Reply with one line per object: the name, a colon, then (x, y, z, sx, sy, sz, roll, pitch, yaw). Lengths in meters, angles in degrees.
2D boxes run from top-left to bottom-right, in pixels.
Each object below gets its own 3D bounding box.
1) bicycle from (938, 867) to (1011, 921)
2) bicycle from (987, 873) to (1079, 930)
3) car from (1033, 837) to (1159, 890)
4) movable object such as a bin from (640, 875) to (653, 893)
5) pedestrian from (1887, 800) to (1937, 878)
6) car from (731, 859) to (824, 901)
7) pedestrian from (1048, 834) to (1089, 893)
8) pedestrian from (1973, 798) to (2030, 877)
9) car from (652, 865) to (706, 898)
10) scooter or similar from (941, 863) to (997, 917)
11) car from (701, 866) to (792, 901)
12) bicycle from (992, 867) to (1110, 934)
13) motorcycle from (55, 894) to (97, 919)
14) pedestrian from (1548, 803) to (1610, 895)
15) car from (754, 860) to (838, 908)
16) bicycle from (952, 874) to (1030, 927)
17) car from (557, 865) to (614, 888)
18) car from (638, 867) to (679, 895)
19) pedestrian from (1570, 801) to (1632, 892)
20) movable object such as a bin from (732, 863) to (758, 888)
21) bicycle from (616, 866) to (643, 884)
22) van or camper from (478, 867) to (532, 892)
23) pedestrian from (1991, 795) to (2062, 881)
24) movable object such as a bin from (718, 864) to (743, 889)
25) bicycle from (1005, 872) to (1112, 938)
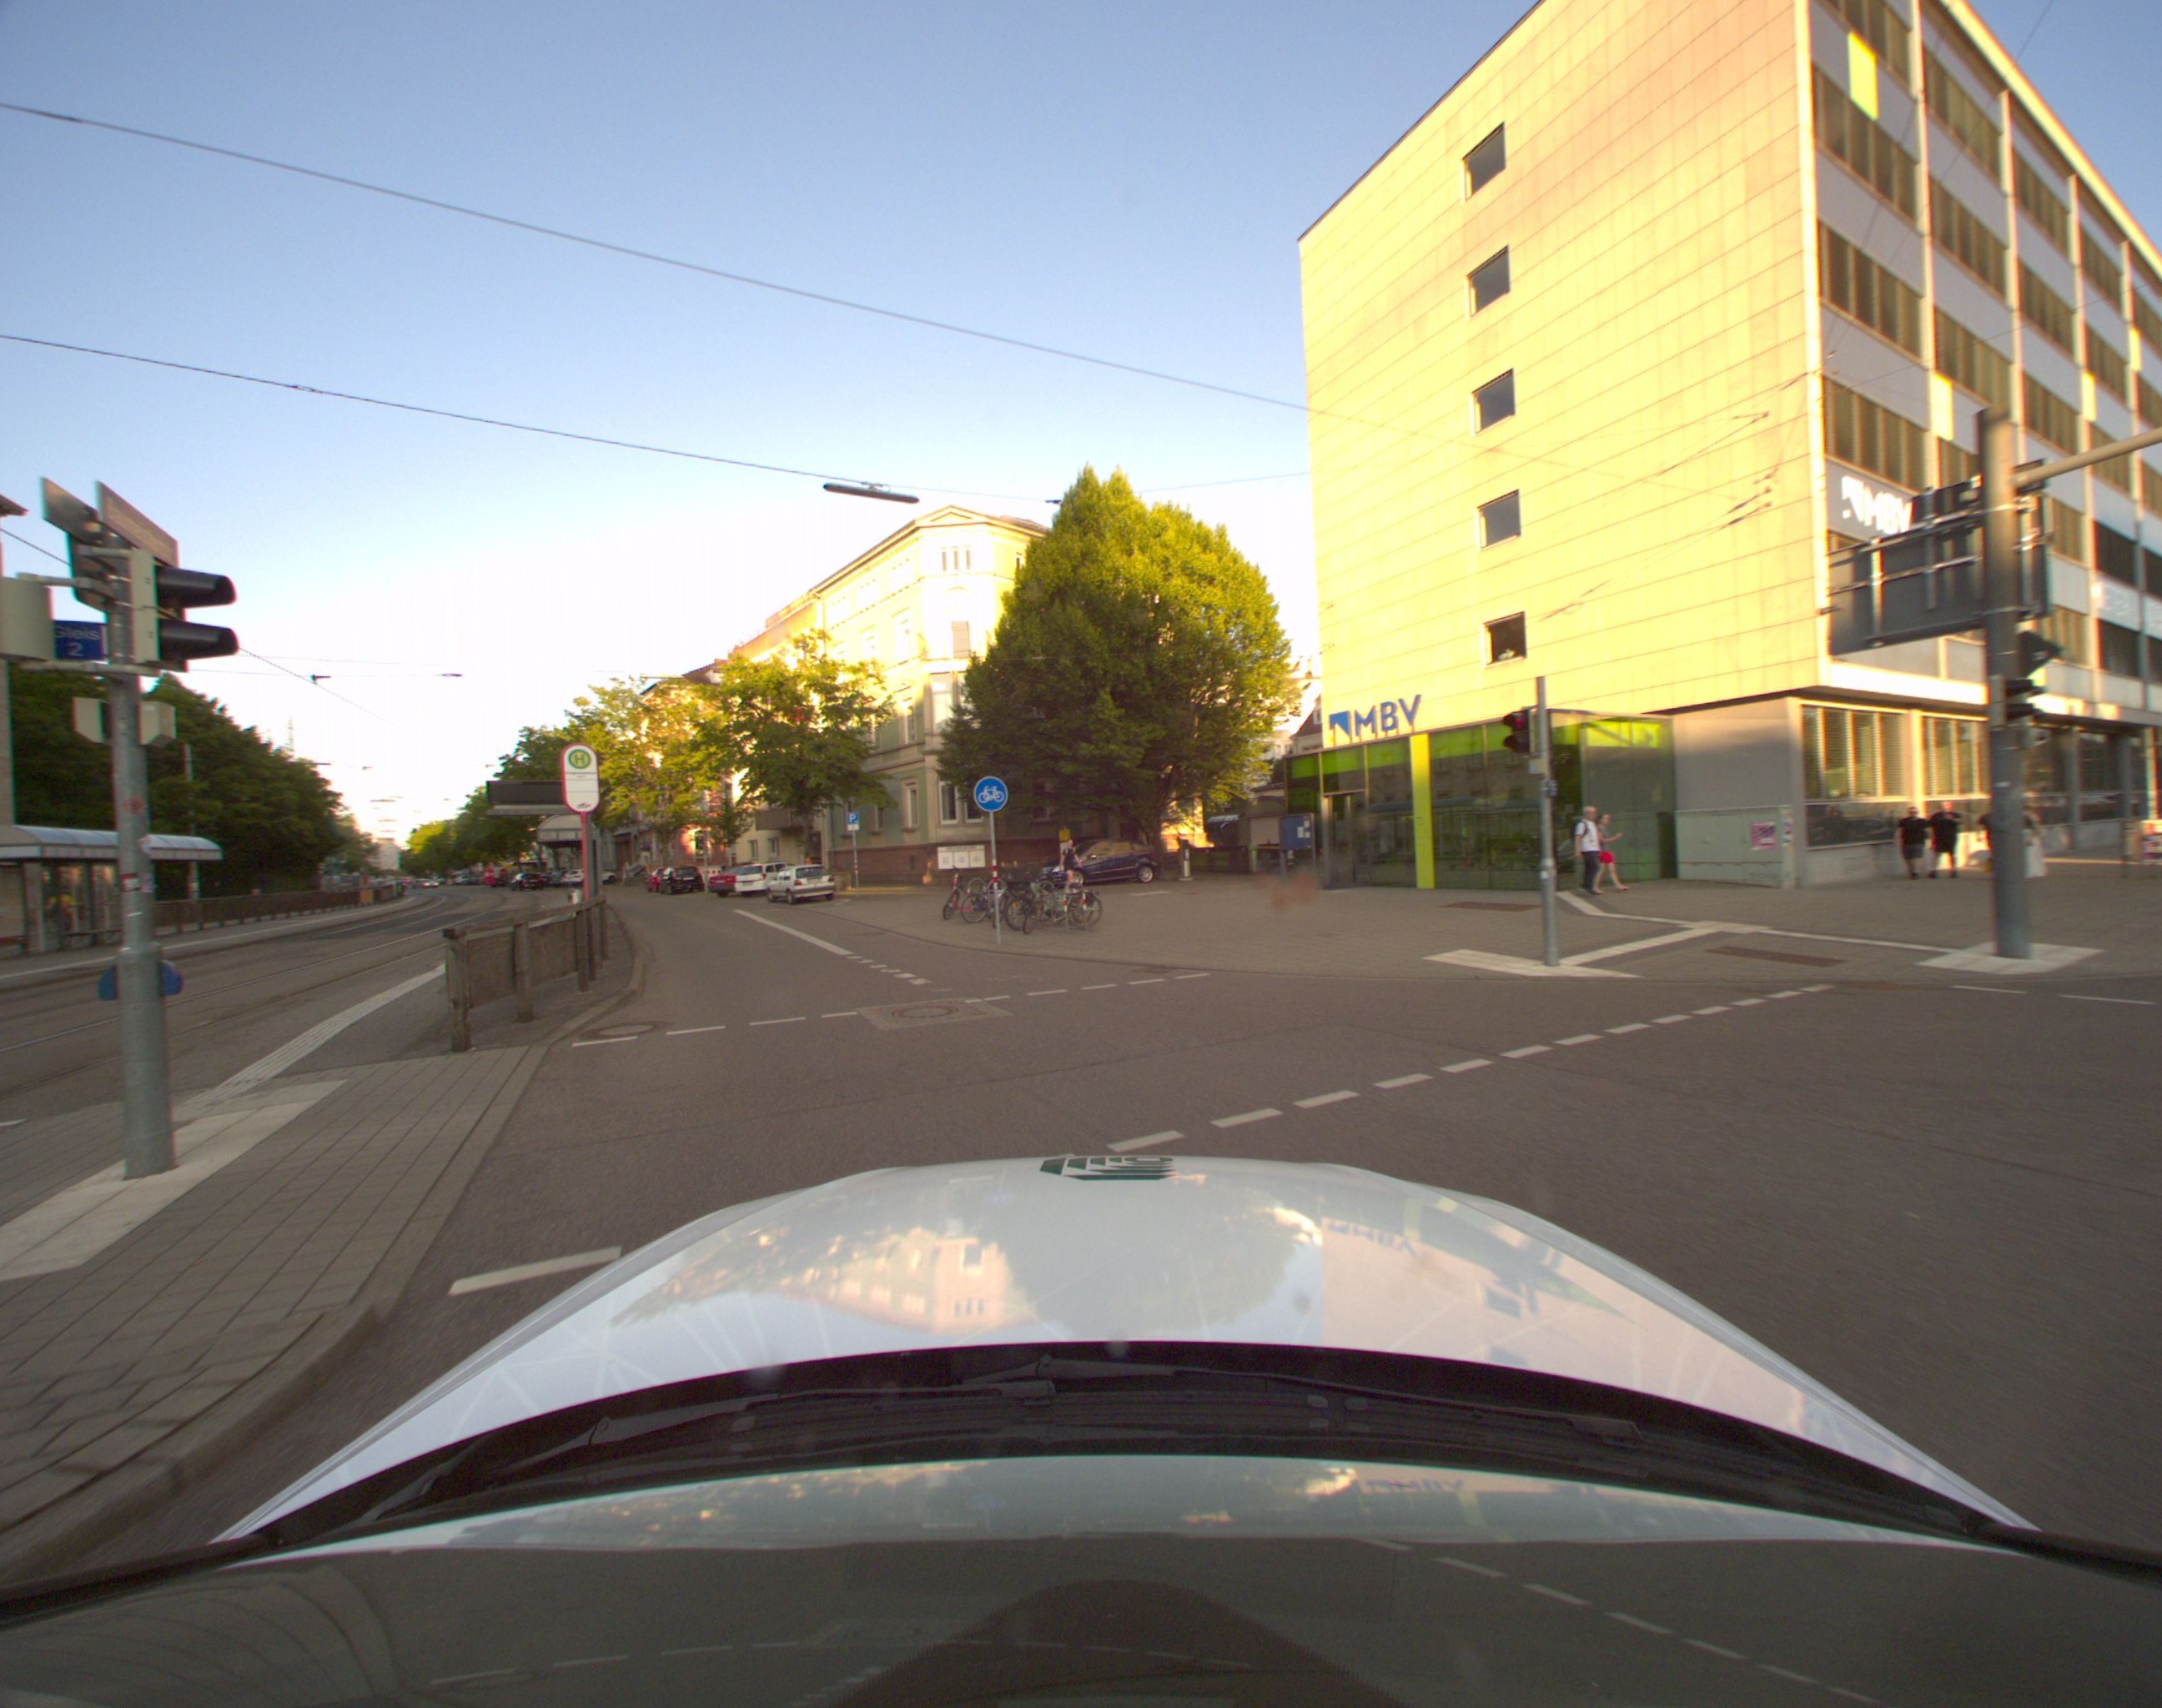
bicycle: (-2.553, 0.932, 19.459, 1.534, 1.162, 0.737, -3, 0, -27)
bicycle: (-1.021, 0.983, 17.296, 1.765, 1.074, 0.737, -3, 0, -27)
car: (0.534, 0.279, 28.237, 4.008, 1.574, 1.787, -3, 1, -29)
movable object such as a bin: (-28.900, 2.018, 54.201, 0.717, 1.153, 0.582, -2, 0, -30)
pedestrian: (19.304, -0.353, 18.917, 0.648, 1.768, 0.648, -3, 0, -32)
car: (-13.875, 1.143, 37.457, 1.703, 1.725, 4.229, -2, 0, 17)
pedestrian: (-0.401, 0.295, 25.029, 0.713, 1.768, 0.977, -3, 0, -44)
pedestrian: (21.156, -0.374, 18.717, 0.675, 1.768, 0.734, -3, 0, -32)
car: (-22.590, 1.520, 45.662, 1.758, 1.631, 4.041, -5, 2, -39)
scooter or similar: (-2.829, 0.895, 20.603, 1.207, 1.225, 0.585, -5, 1, -28)
car: (-16.004, 1.376, 39.161, 1.627, 1.454, 4.230, -2, 0, 18)
bicycle: (-0.593, 0.904, 16.465, 2.243, 1.132, 0.737, -4, 1, -27)
motorcycle: (-40.197, 2.088, 32.592, 0.480, 0.928, 1.497, -3, 0, -28)
pedestrian: (9.831, -0.102, 16.094, 0.710, 1.768, 0.728, -3, 0, -28)
car: (-11.033, 1.140, 31.388, 1.694, 1.552, 3.953, -7, 3, -39)
bicycle: (-2.051, 1.032, 18.570, 1.559, 1.074, 0.737, -3, 0, -27)
car: (-43.290, 1.937, 71.217, 1.655, 1.626, 3.975, -3, 3, 18)
car: (-26.195, 1.661, 50.396, 1.577, 1.535, 3.651, -5, 2, -37)
pedestrian: (10.480, -0.147, 16.421, 0.710, 1.768, 0.740, -3, 0, -28)
movable object such as a bin: (-21.425, 1.375, 51.938, 1.150, 1.502, 1.255, -3, 0, -42)
bicycle: (-35.000, 1.647, 63.129, 0.595, 1.266, 1.926, -3, 1, 14)
van or camper: (-75.385, 3.306, 106.682, 2.065, 2.529, 5.572, -5, 2, 14)
pedestrian: (20.211, -0.339, 17.415, 0.788, 1.768, 0.835, -3, 0, -32)
movable object such as a bin: (-22.693, 1.454, 52.756, 1.082, 1.502, 1.303, -3, 0, -44)
bicycle: (-0.438, 0.946, 15.385, 1.861, 1.074, 0.741, -4, 0, -11)
